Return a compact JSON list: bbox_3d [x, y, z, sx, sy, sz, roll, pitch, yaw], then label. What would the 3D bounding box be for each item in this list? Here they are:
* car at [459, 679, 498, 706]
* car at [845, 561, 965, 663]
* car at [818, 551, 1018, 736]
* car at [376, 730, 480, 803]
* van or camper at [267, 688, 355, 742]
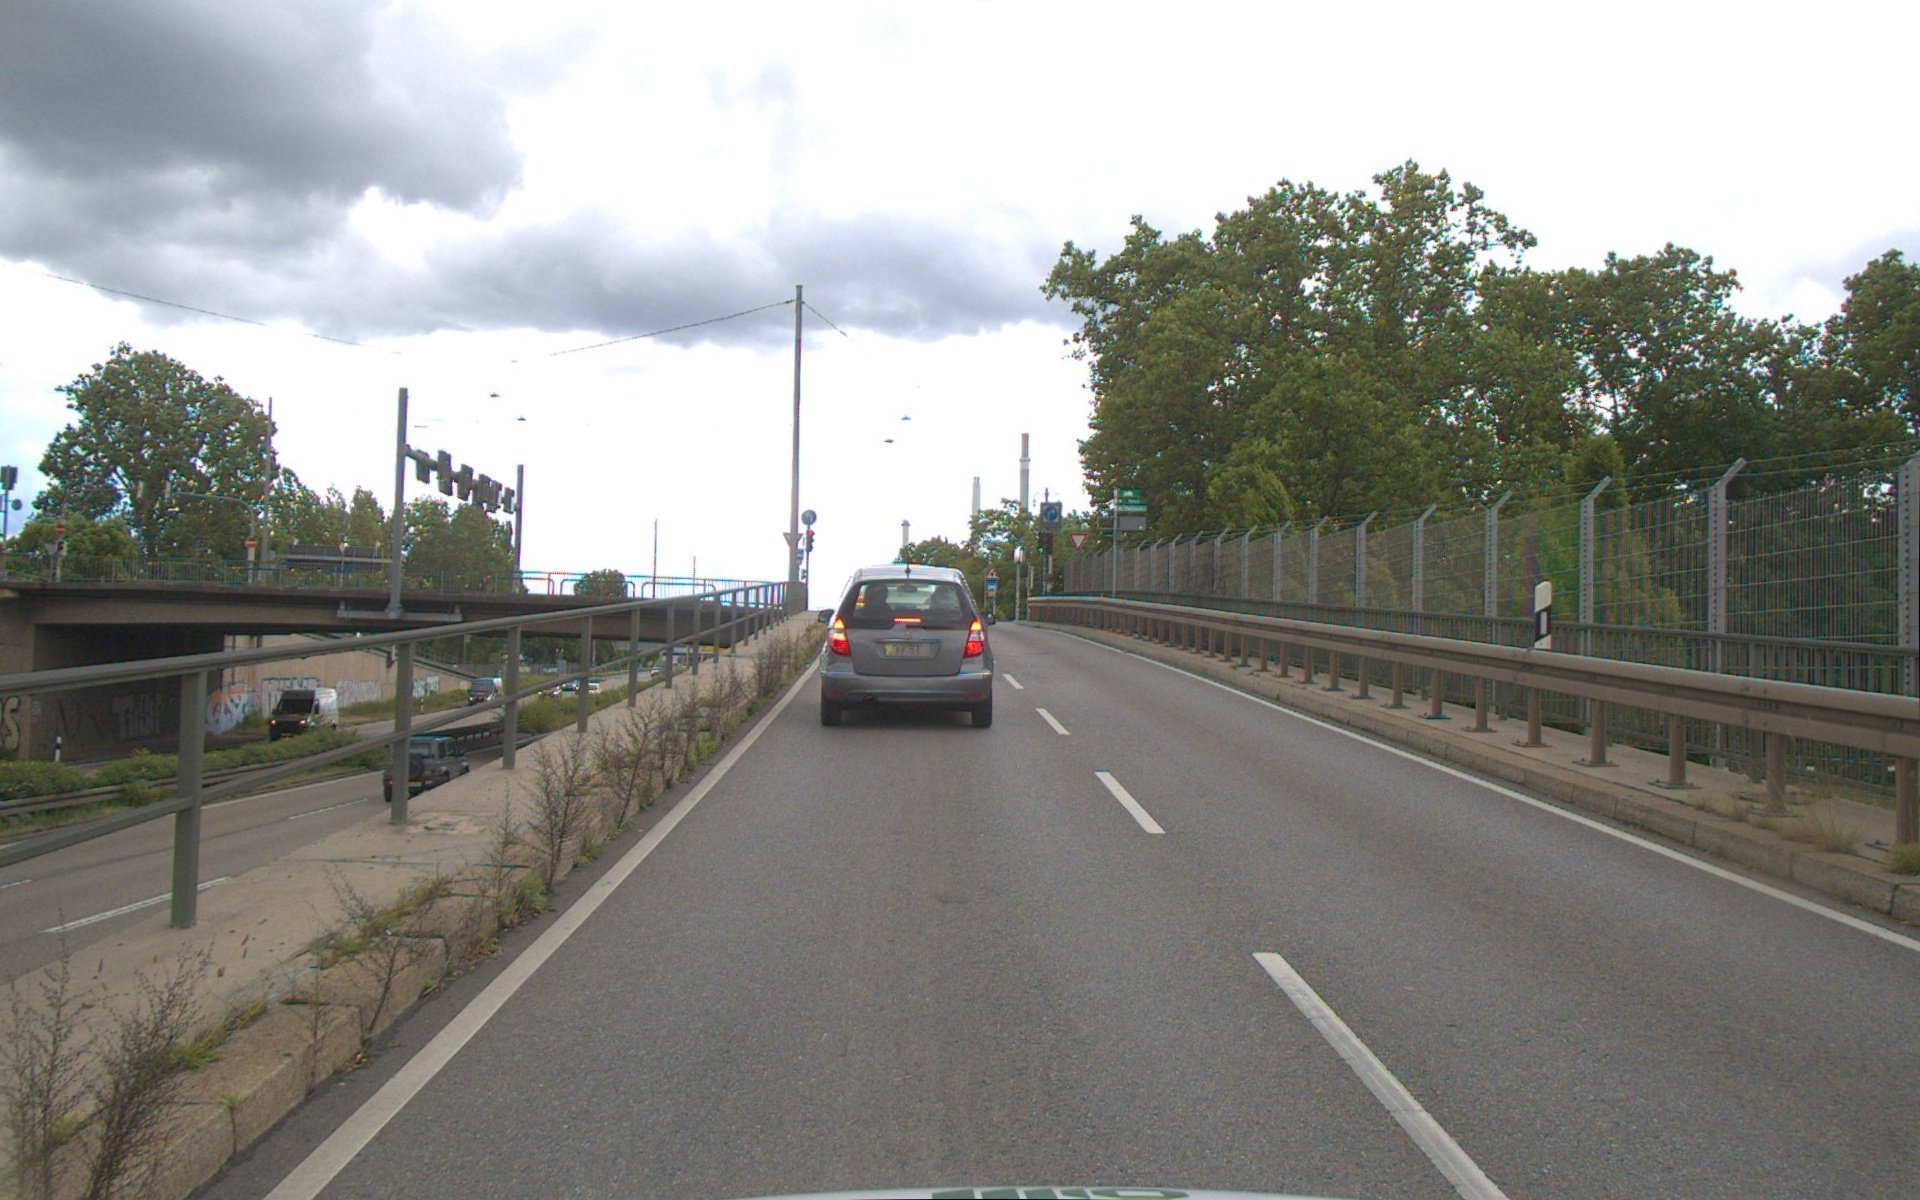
[{"bbox_3d":[-40.020,7.671,137.588,2.248,2.193,6.170,0,-3,-8],"label":"car"},{"bbox_3d":[-0.960,0.155,28.953,1.953,1.631,3.999,0,2,-2],"label":"car"},{"bbox_3d":[-0.333,0.350,17.787,1.713,1.607,4.089,1,3,5],"label":"car"},{"bbox_3d":[-14.741,4.582,45.995,1.647,1.766,3.997,0,-2,-1],"label":"car"},{"bbox_3d":[-32.644,5.758,83.417,2.139,2.500,6.343,1,-3,-3],"label":"van or camper"}]
